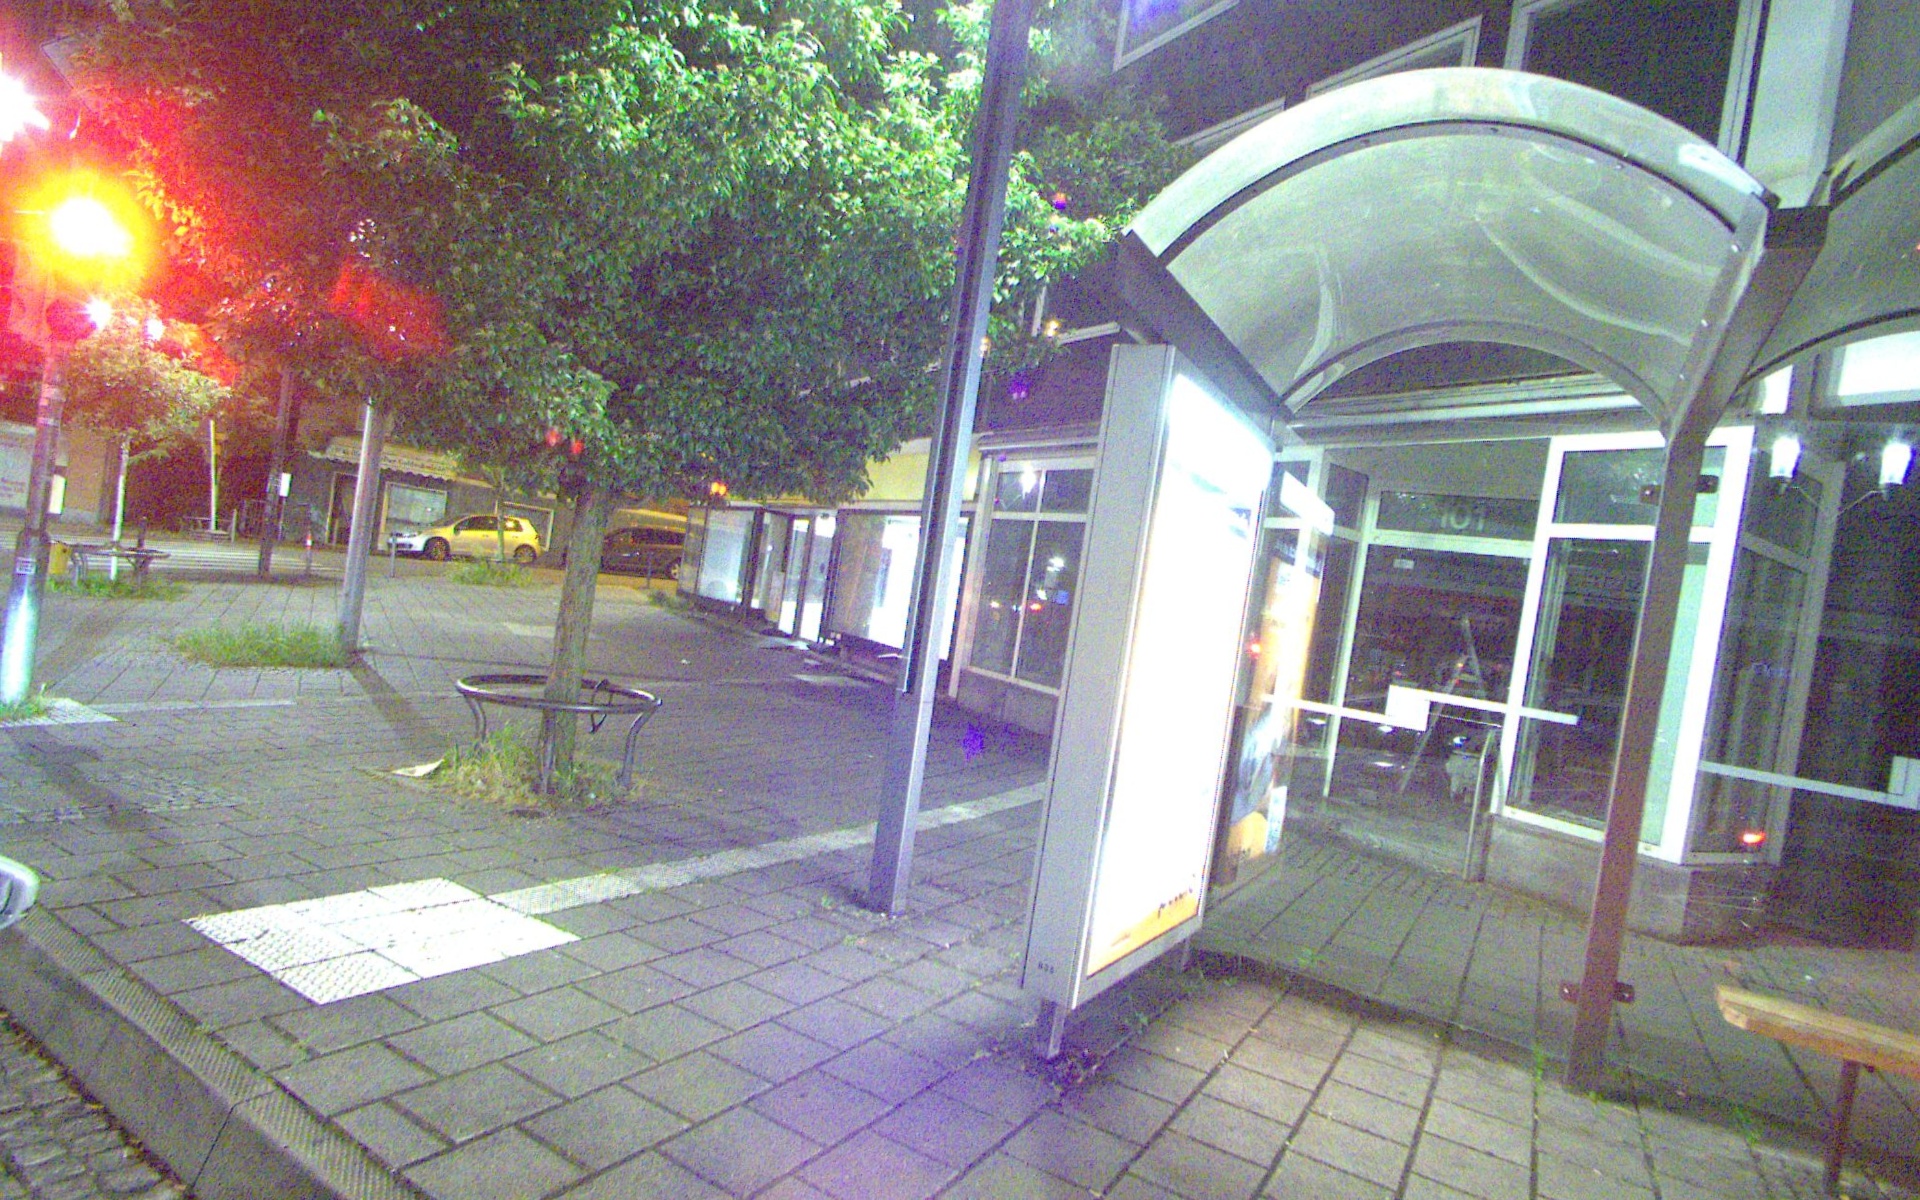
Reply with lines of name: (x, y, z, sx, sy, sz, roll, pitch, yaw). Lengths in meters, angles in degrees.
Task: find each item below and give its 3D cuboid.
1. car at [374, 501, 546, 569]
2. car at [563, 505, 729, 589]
car: (-14.483, -1.850, 29.298, 1.798, 1.472, 4.036, 8, 2, 38)
car: (-10.135, -1.636, 32.467, 4.783, 1.932, 2.148, 8, -2, -23)
